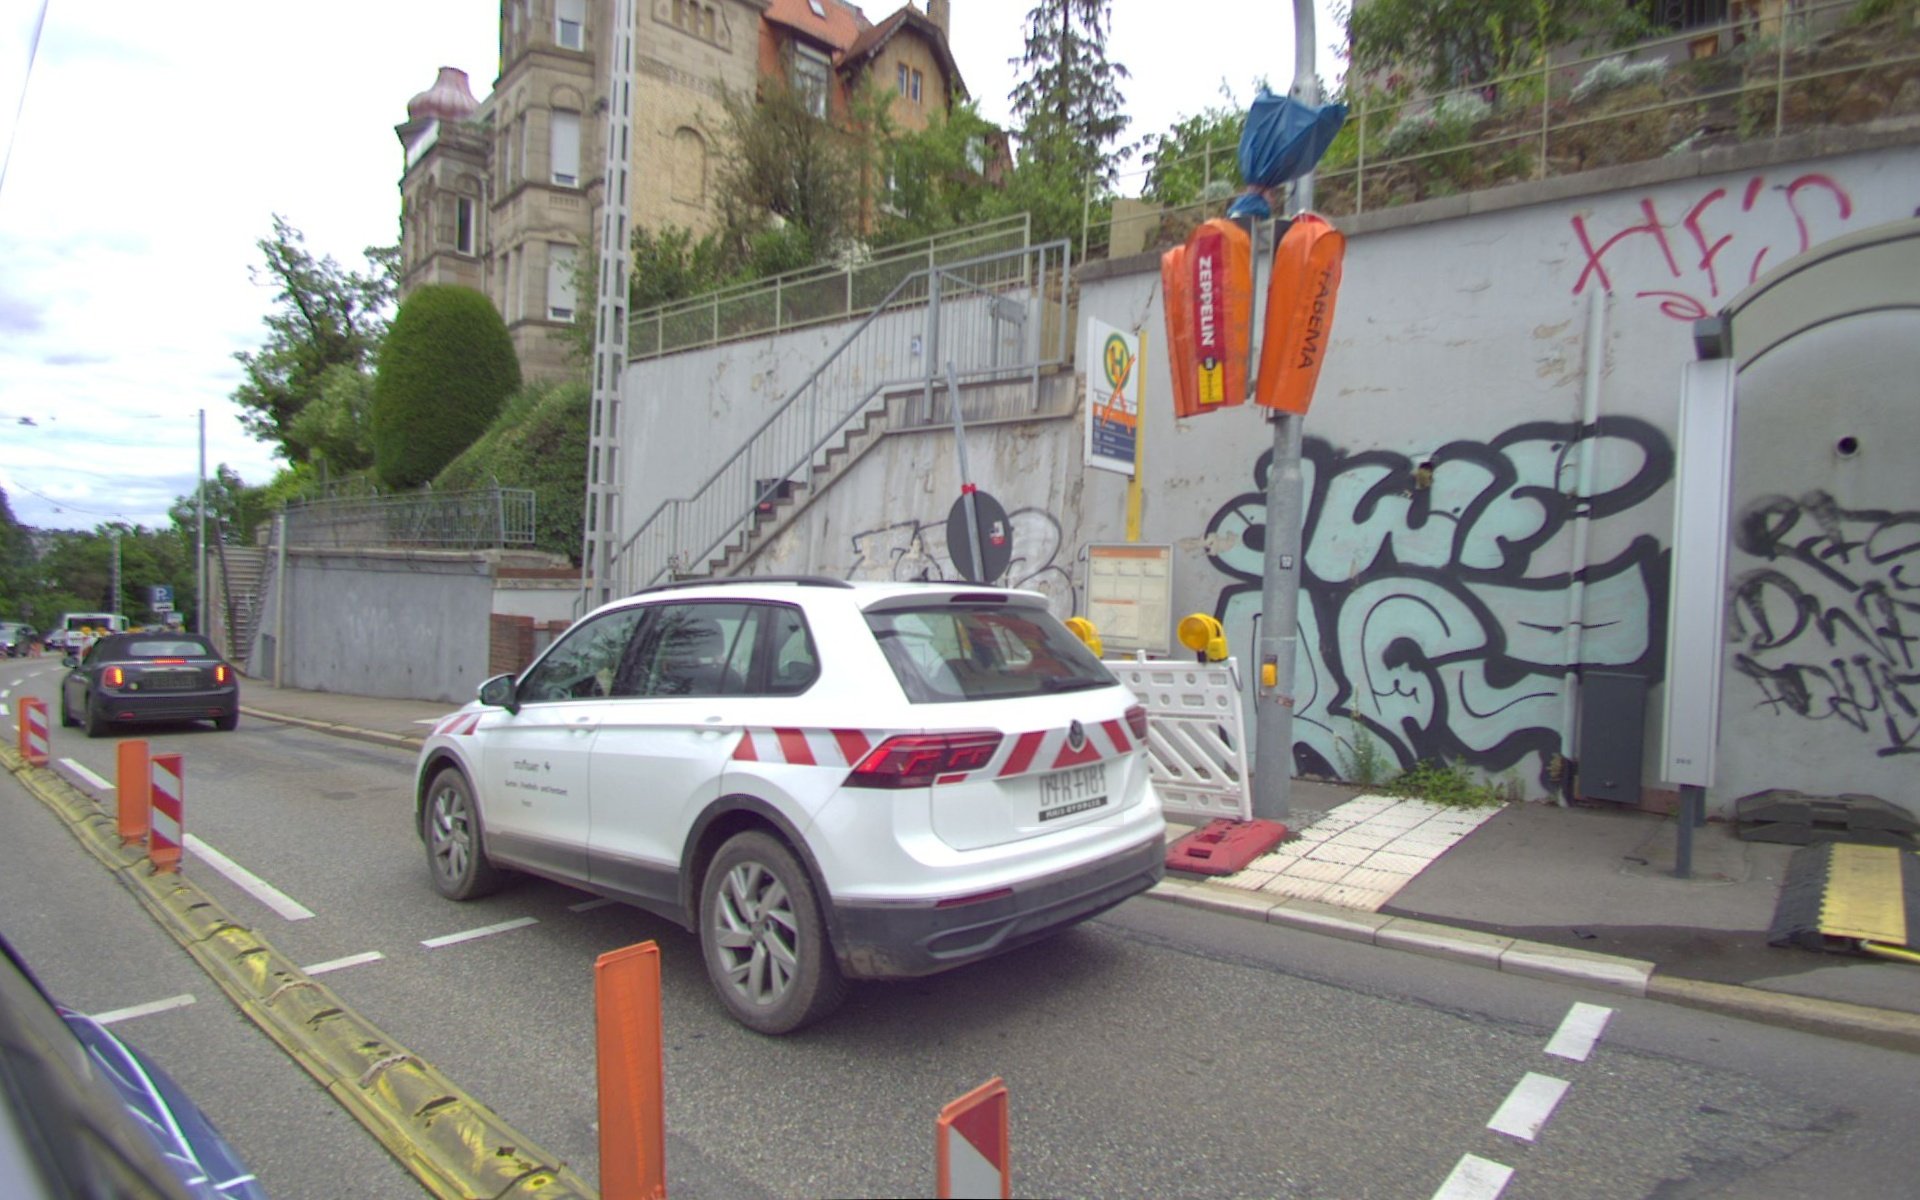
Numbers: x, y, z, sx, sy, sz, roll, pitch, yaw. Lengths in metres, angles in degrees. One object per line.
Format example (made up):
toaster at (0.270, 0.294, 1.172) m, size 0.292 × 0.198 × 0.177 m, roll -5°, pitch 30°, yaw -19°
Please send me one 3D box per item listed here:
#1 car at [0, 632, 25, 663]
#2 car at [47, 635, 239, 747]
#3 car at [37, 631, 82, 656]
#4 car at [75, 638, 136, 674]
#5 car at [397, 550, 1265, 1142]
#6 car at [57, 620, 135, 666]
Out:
car at (-49.166, 2.387, 51.440) m, size 1.770 × 1.522 × 4.010 m, roll 3°, pitch -3°, yaw -34°
car at (-12.159, 1.249, 14.994) m, size 3.586 × 1.441 × 1.654 m, roll -1°, pitch -3°, yaw 42°
car at (-58.195, 2.805, 65.457) m, size 1.771 × 1.522 × 4.009 m, roll 4°, pitch -3°, yaw -37°
car at (-35.523, 2.304, 42.141) m, size 1.776 × 1.383 × 4.396 m, roll 4°, pitch -4°, yaw -39°
car at (-0.950, 0.725, 4.887) m, size 4.262 × 1.612 × 1.822 m, roll -2°, pitch -2°, yaw 42°
car at (-44.182, 2.229, 51.885) m, size 2.038 × 2.204 × 4.977 m, roll 2°, pitch -3°, yaw -29°
